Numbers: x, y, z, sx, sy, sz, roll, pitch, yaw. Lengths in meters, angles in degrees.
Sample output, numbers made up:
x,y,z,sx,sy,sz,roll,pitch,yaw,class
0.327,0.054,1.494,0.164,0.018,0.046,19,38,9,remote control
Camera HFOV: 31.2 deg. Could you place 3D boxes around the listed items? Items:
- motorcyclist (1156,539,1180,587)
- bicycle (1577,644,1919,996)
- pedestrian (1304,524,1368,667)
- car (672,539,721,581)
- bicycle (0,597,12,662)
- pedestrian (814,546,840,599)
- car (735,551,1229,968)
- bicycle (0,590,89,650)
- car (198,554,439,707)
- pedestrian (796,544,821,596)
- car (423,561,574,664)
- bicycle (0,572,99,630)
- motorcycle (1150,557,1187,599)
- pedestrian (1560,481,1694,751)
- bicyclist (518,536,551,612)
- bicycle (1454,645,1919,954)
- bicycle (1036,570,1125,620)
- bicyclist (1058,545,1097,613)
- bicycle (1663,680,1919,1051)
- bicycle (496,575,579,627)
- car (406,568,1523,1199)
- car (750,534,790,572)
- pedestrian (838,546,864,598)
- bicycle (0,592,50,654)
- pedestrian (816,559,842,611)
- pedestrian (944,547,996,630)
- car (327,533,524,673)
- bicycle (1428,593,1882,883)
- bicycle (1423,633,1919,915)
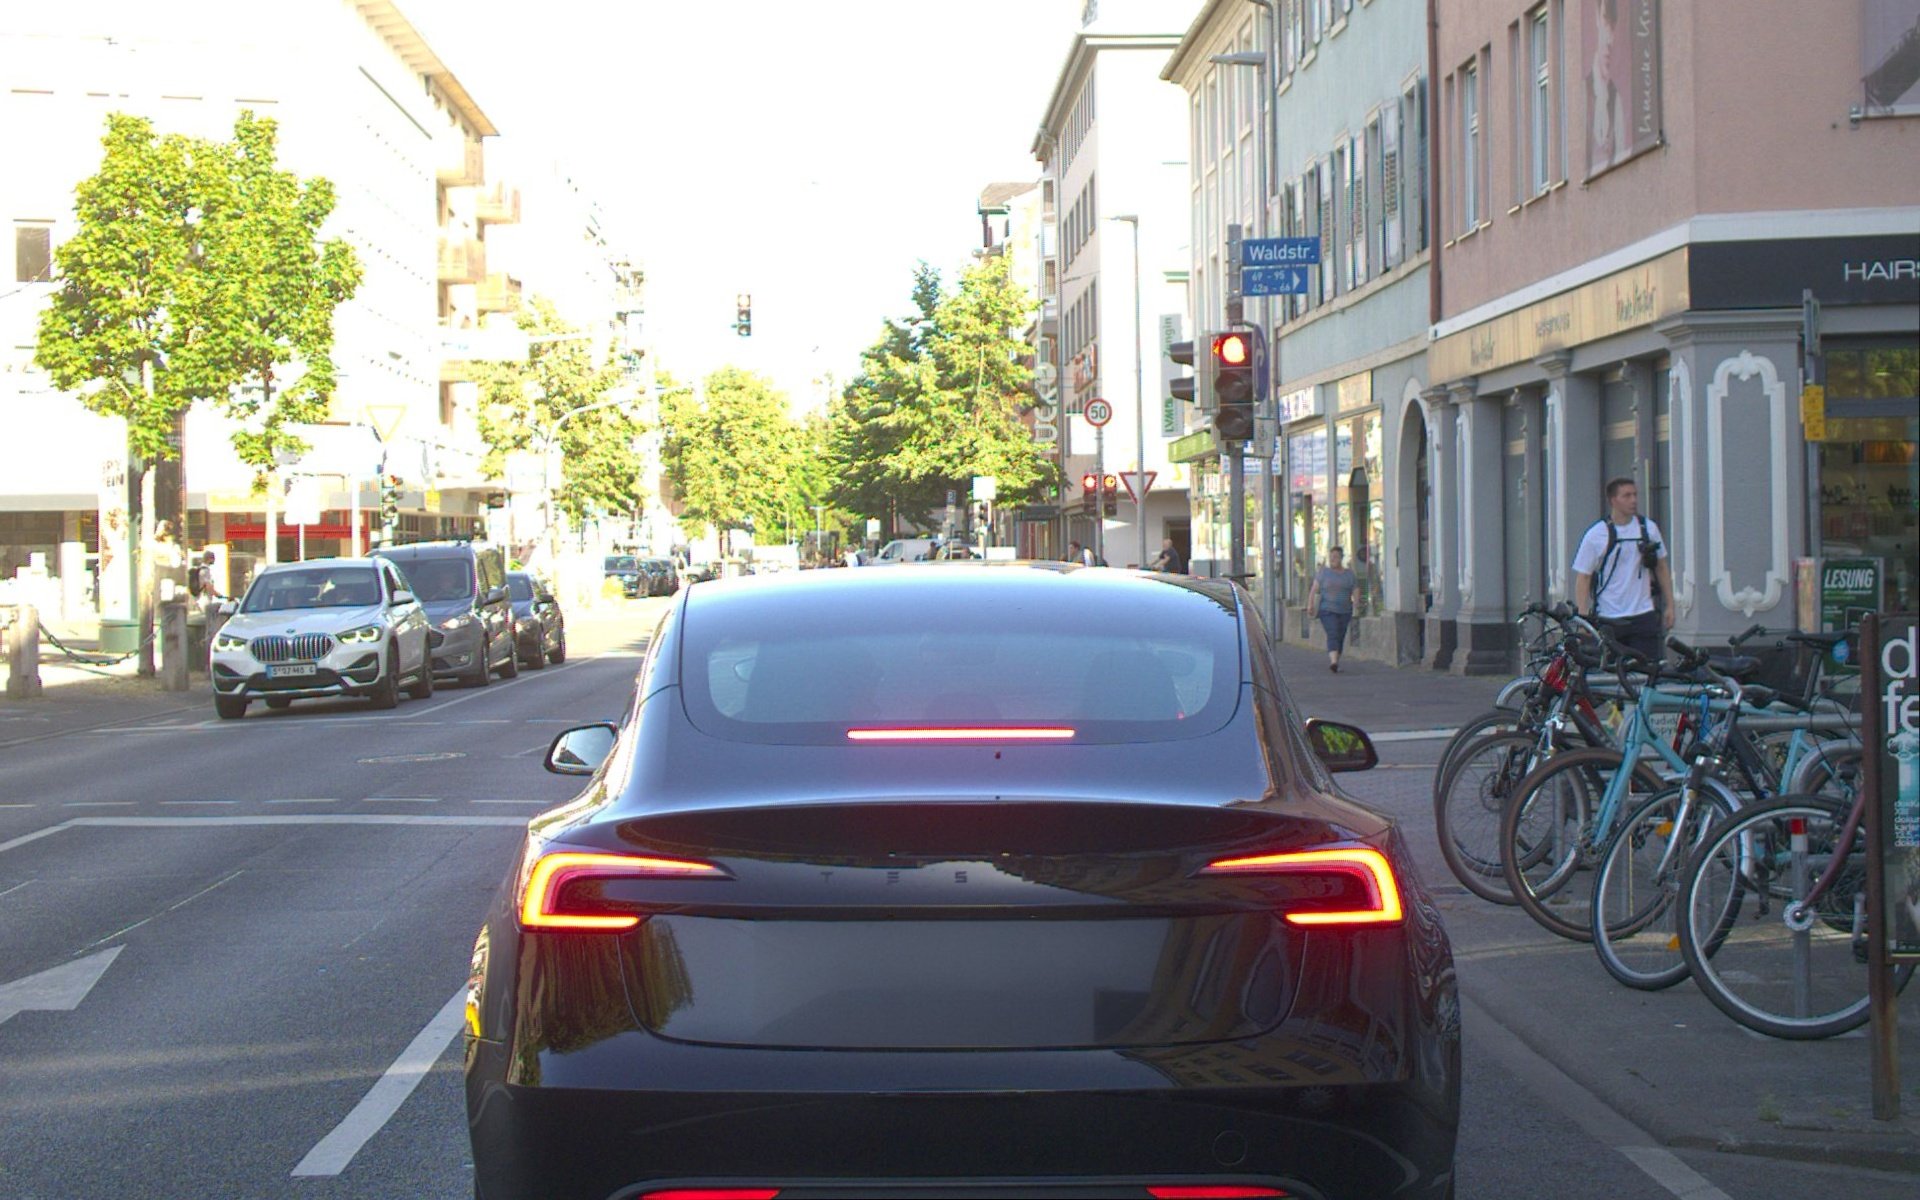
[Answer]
x,y,z,sx,sy,sz,roll,pitch,yaw,class
5.484,-0.985,90.635,0.489,1.249,0.355,-2,2,-36,motorcyclist
2.991,0.696,11.169,1.873,1.084,0.414,-2,0,4,bicycle
4.595,-0.058,42.052,0.706,1.736,0.540,0,1,-1,pedestrian
-9.833,-1.506,127.972,1.706,1.546,3.697,0,1,-6,car
-14.759,0.418,49.816,1.864,0.931,0.606,1,0,-1,bicycle
-3.598,-0.748,92.876,0.521,1.417,0.479,1,0,-30,pedestrian
0.009,0.528,13.819,1.718,1.420,3.758,0,1,-2,car
-14.836,0.319,54.594,1.864,0.931,0.606,0,1,-1,bicycle
-6.678,0.288,36.141,1.789,1.455,3.757,-2,1,0,car
-4.121,-0.808,93.368,0.472,1.412,0.522,1,0,-31,pedestrian
-6.745,0.159,50.559,1.715,1.441,3.845,1,1,-1,car
-20.769,0.019,77.929,2.361,1.291,0.513,1,0,-26,bicycle
5.498,-0.589,90.658,0.977,1.082,0.356,-1,1,-37,motorcycle
4.434,0.100,22.887,0.750,1.759,0.836,1,0,4,pedestrian
-8.446,-0.511,68.216,0.522,1.498,0.476,1,0,-24,bicyclist
2.774,0.713,12.472,1.873,1.034,0.533,-2,0,4,bicycle
2.497,-0.098,71.171,1.784,1.003,0.472,1,0,-16,bicycle
2.430,-0.432,71.137,0.669,1.390,0.462,1,0,-16,bicyclist
3.025,0.748,9.975,1.873,1.034,0.353,-2,0,6,bicycle
-8.385,0.013,68.251,1.556,1.009,0.484,1,0,-24,bicycle
-0.015,0.650,7.613,1.822,1.437,4.000,0,1,-1,car
-10.328,-2.569,187.125,1.993,2.007,4.000,0,1,-1,car
-2.962,-0.756,93.301,0.521,1.417,0.479,1,0,-30,pedestrian
-14.808,0.344,52.146,1.864,0.931,0.606,0,1,-1,bicycle
-3.579,-0.410,93.654,0.521,1.417,0.479,1,0,-30,pedestrian
0.193,-0.237,68.227,0.754,1.626,0.956,1,0,-18,pedestrian
-6.523,0.001,42.373,1.787,1.640,4.403,0,1,-1,car
2.961,0.585,14.761,1.828,1.165,0.505,-2,0,5,bicycle
2.811,0.682,13.642,1.873,1.034,0.547,-2,0,5,bicycle
